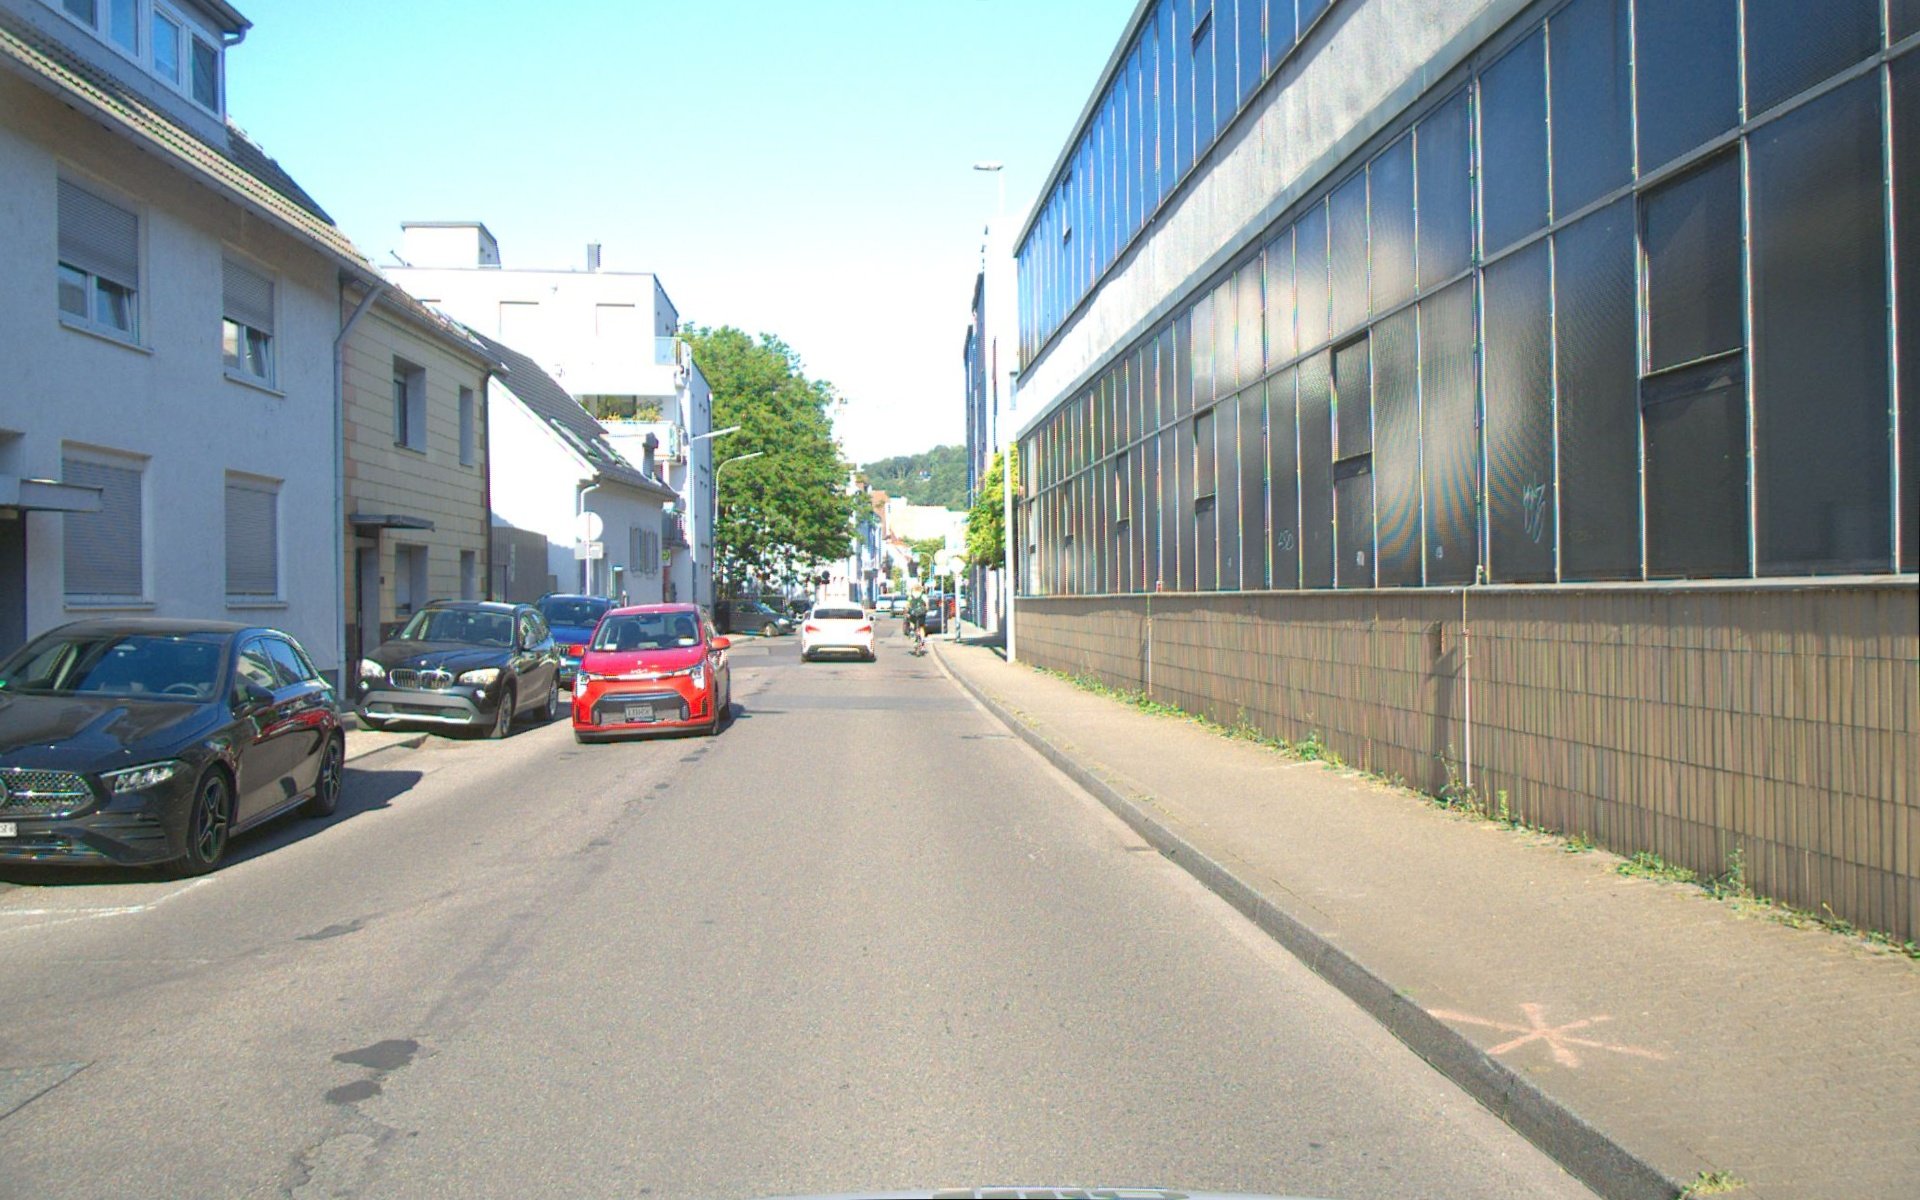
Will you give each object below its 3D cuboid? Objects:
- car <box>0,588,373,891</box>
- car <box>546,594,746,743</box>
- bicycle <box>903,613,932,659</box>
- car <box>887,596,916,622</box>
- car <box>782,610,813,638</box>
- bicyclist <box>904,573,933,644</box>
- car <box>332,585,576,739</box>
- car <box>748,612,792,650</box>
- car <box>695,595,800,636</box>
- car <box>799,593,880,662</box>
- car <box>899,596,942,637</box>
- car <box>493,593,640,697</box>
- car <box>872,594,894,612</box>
[{"bbox_3d":[-5.304,0.774,10.967,1.653,1.562,4.327,4,-2,-7],"label":"car"},{"bbox_3d":[-3.622,0.746,19.743,1.806,1.517,4.140,-2,0,-4],"label":"car"},{"bbox_3d":[-1.136,0.954,43.803,0.684,1.150,2.401,3,-2,-2],"label":"bicycle"},{"bbox_3d":[-4.304,0.668,121.581,1.817,1.823,4.602,3,-1,-5],"label":"car"},{"bbox_3d":[-10.105,1.478,102.915,1.670,1.603,3.910,3,-1,-4],"label":"car"},{"bbox_3d":[-1.106,0.237,43.784,0.684,1.821,1.040,3,-2,-2],"label":"bicyclist"},{"bbox_3d":[-6.216,0.717,20.859,1.821,1.614,4.333,4,-1,-3],"label":"car"},{"bbox_3d":[-9.698,1.585,84.725,1.816,1.823,4.605,3,-1,-2],"label":"car"},{"bbox_3d":[-9.107,0.683,71.028,4.043,1.517,1.849,3,-2,9],"label":"car"},{"bbox_3d":[-2.960,0.690,40.515,1.806,1.517,4.140,3,-2,-4],"label":"car"},{"bbox_3d":[-1.661,0.693,67.779,1.597,1.615,4.066,0,-1,-4],"label":"car"},{"bbox_3d":[-6.953,0.739,29.630,1.773,1.614,4.190,4,0,-4],"label":"car"},{"bbox_3d":[-7.395,0.289,159.144,1.905,1.615,4.620,-1,-1,0],"label":"car"}]
